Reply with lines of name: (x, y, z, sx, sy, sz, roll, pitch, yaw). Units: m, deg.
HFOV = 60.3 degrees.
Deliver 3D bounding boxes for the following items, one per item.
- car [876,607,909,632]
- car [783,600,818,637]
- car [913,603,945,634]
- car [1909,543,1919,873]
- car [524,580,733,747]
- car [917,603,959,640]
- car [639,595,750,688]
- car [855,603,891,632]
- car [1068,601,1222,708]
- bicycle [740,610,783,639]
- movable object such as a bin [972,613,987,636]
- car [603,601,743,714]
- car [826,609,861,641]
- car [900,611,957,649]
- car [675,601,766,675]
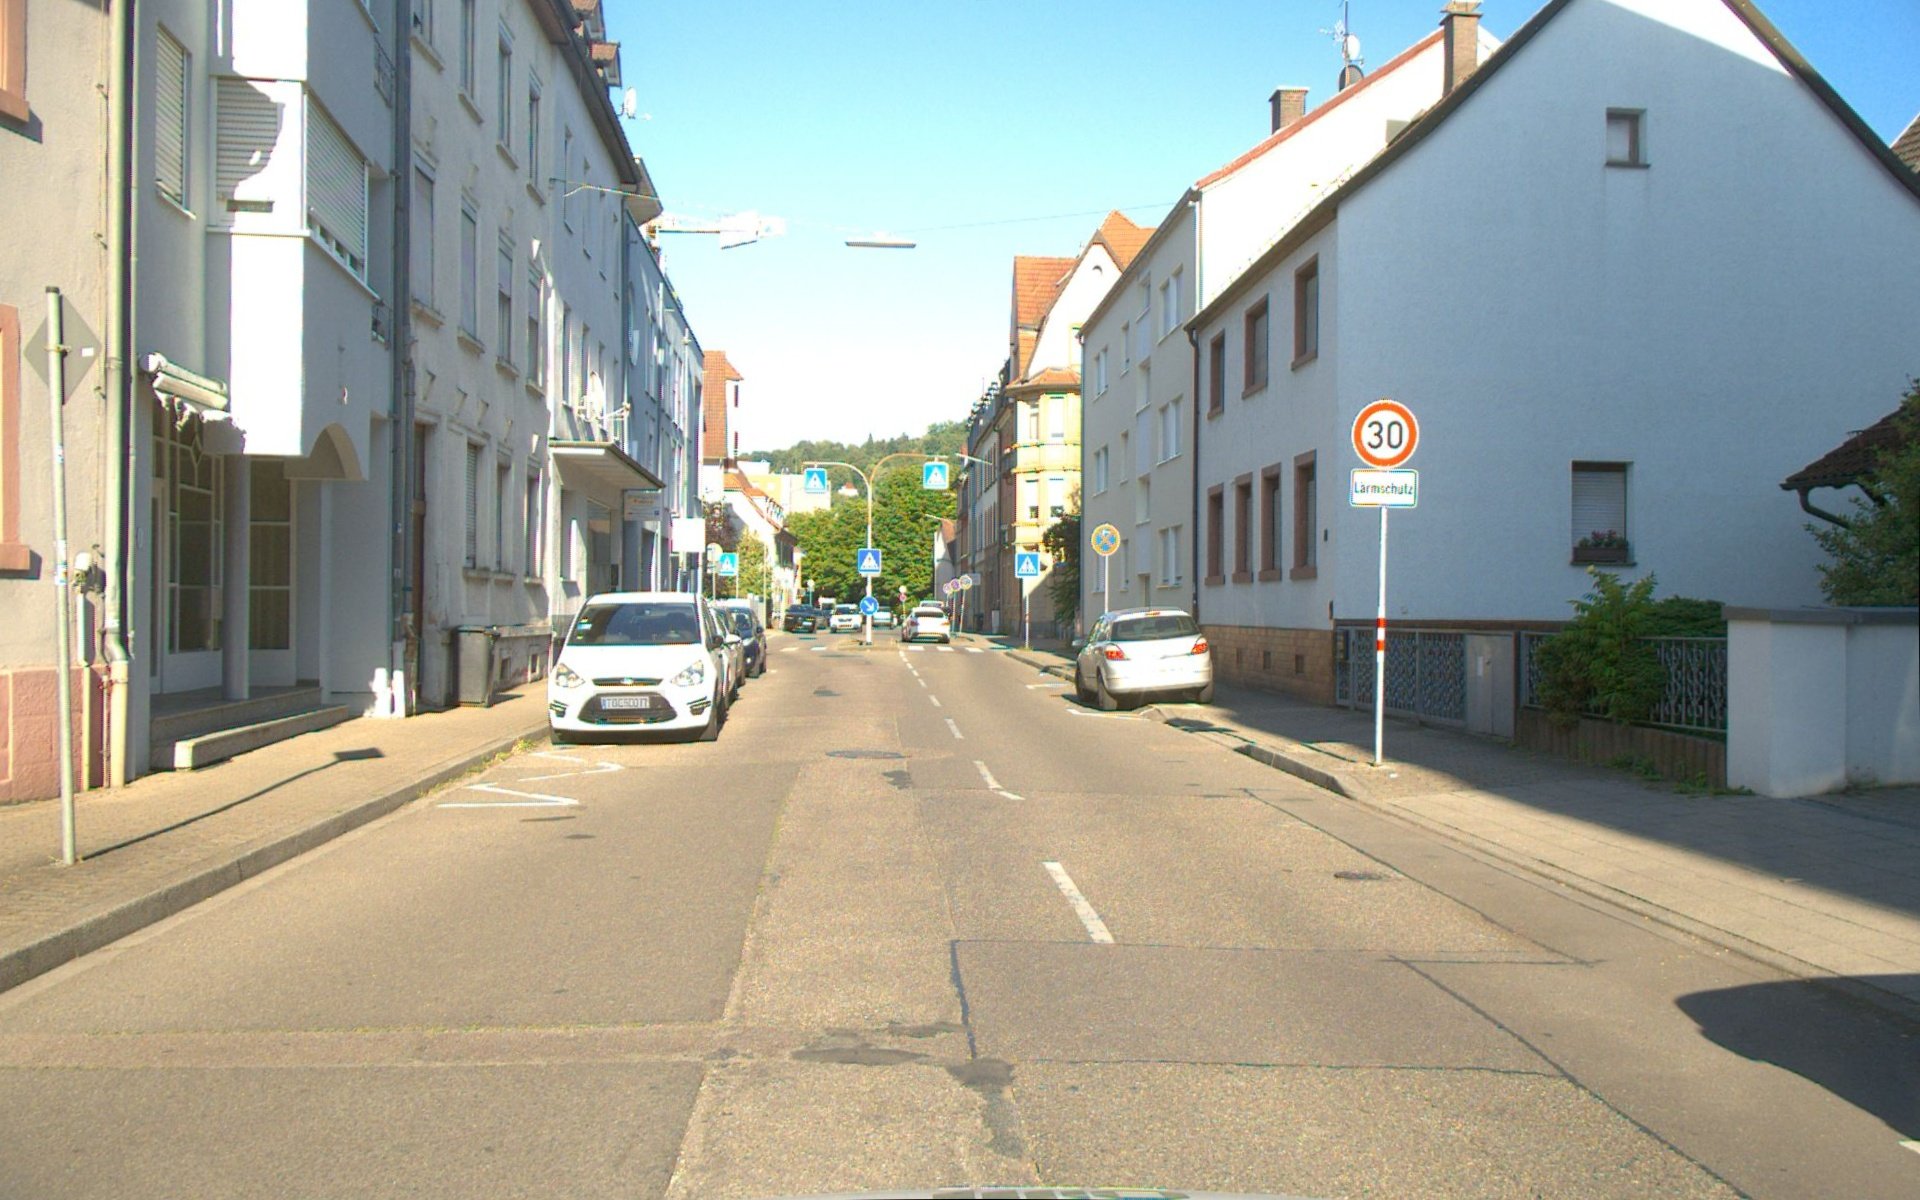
car: (-5.679, 1.633, 138.288, 1.960, 2.049, 3.985, 1, 0, -14)
car: (-9.245, 1.063, 95.811, 1.955, 2.049, 3.995, 1, 0, -5)
car: (-2.020, 1.177, 106.961, 1.805, 1.939, 3.996, -1, 0, -5)
car: (3.936, 0.633, 2.761, 1.818, 1.665, 4.620, -2, 0, -3)
car: (-3.736, 0.655, 19.501, 1.955, 1.676, 5.214, 1, 0, -7)
car: (-1.216, 1.156, 90.705, 1.972, 1.885, 3.996, 2, 0, -5)
car: (-4.755, 0.732, 30.041, 1.627, 1.553, 3.805, 1, -1, -4)
car: (-6.181, 1.236, 117.565, 1.959, 2.049, 3.987, 0, 0, -12)
car: (2.817, 0.798, 26.112, 1.706, 1.518, 4.436, -1, 0, -3)
bicycle: (-8.391, 1.032, 69.932, 1.751, 1.205, 0.598, 0, -1, -3)
movable object such as a bin: (1.197, 1.504, 101.680, 0.854, 1.402, 0.684, -1, 0, -5)
car: (-4.262, 0.797, 25.064, 1.730, 1.522, 4.121, -2, 0, -5)
car: (-6.763, 1.438, 95.562, 1.773, 1.731, 4.185, -1, 0, -7)
car: (-1.297, 1.196, 66.895, 1.955, 1.492, 3.995, 0, -1, -6)
car: (-5.148, 0.818, 35.933, 1.697, 1.526, 3.955, 0, -1, -5)
